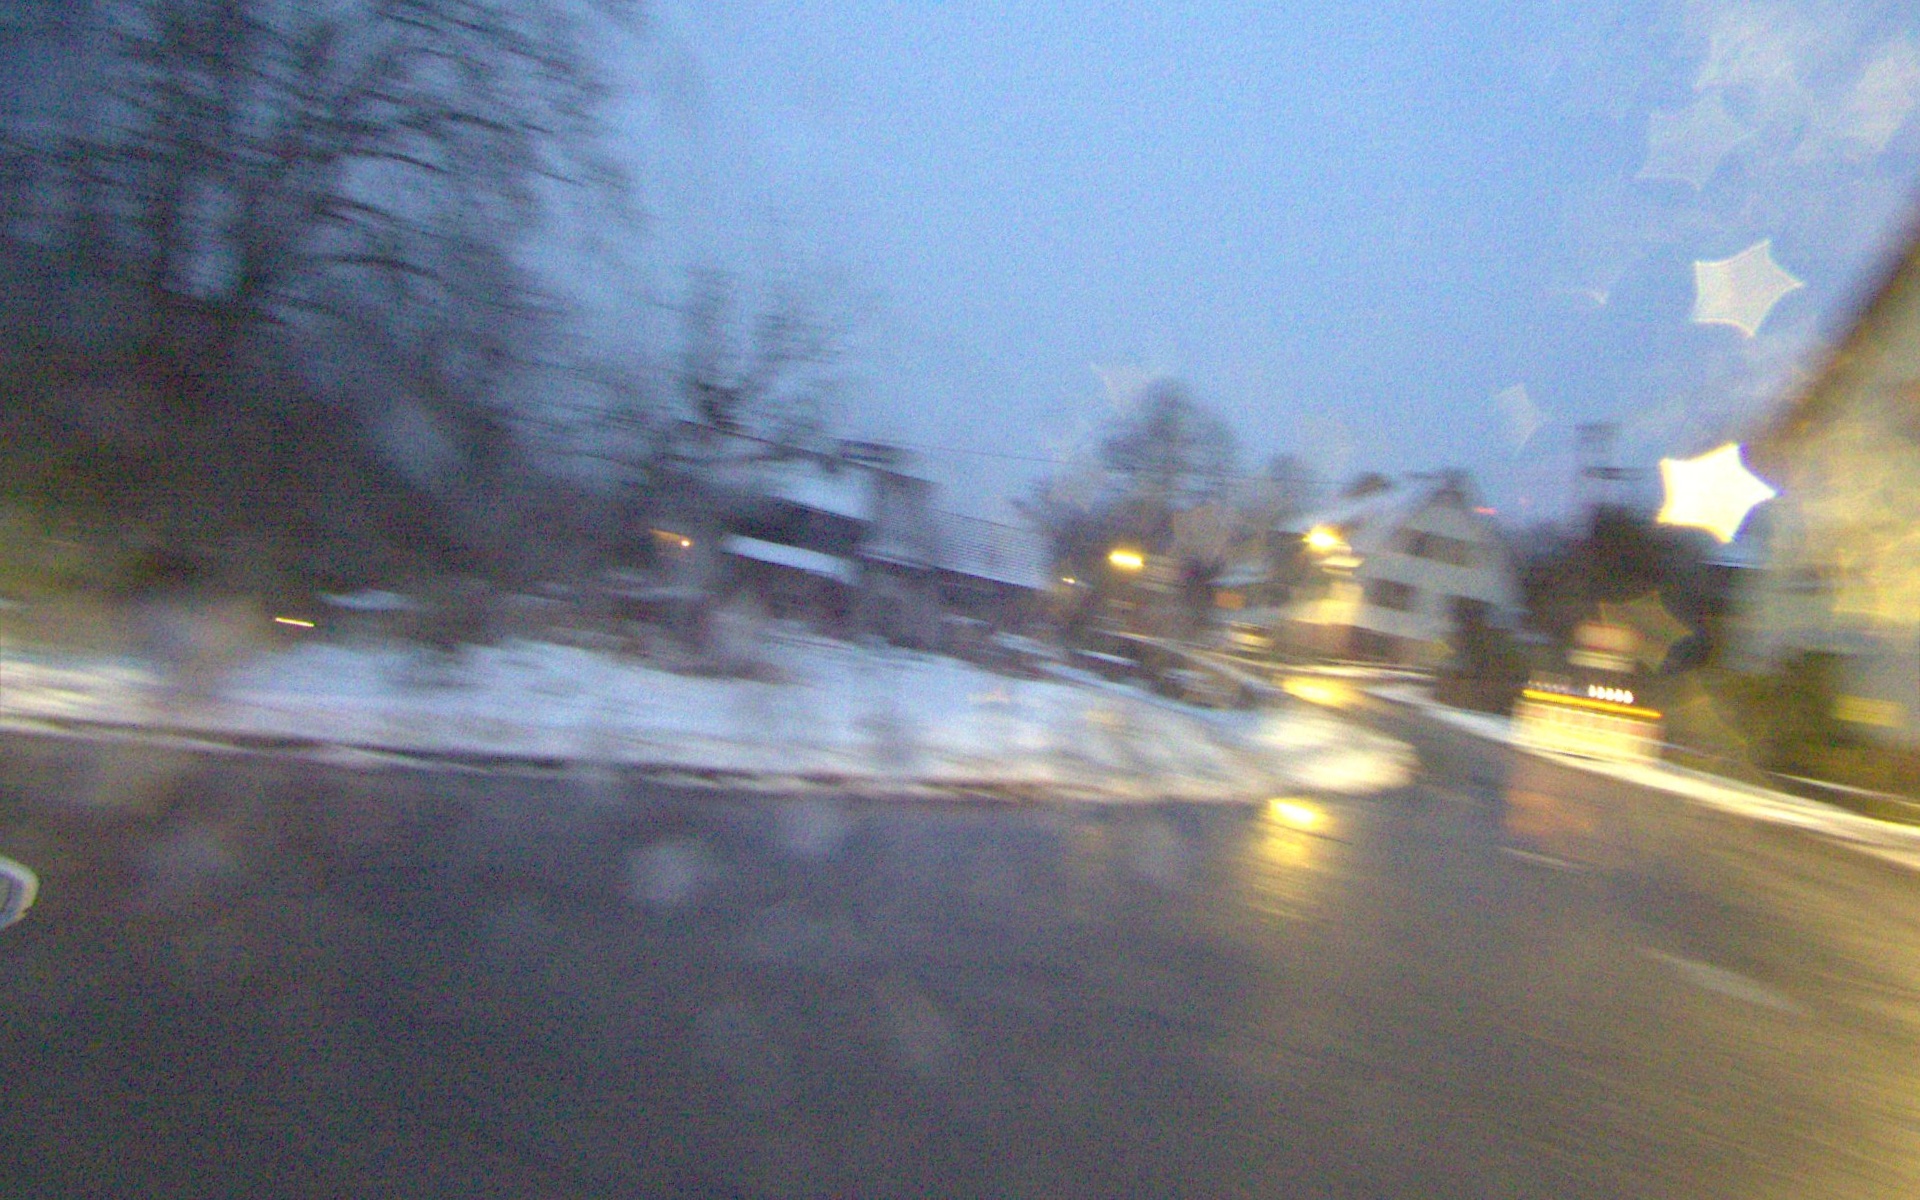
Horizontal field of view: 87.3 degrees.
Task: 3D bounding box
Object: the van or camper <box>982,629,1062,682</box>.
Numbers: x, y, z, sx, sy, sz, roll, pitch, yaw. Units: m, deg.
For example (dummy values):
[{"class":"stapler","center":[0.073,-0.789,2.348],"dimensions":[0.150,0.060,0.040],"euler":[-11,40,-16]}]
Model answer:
[{"class":"van or camper","center":[1.648,1.480,27.569],"dimensions":[1.267,1.112,3.269],"euler":[12,-3,-10]}]
